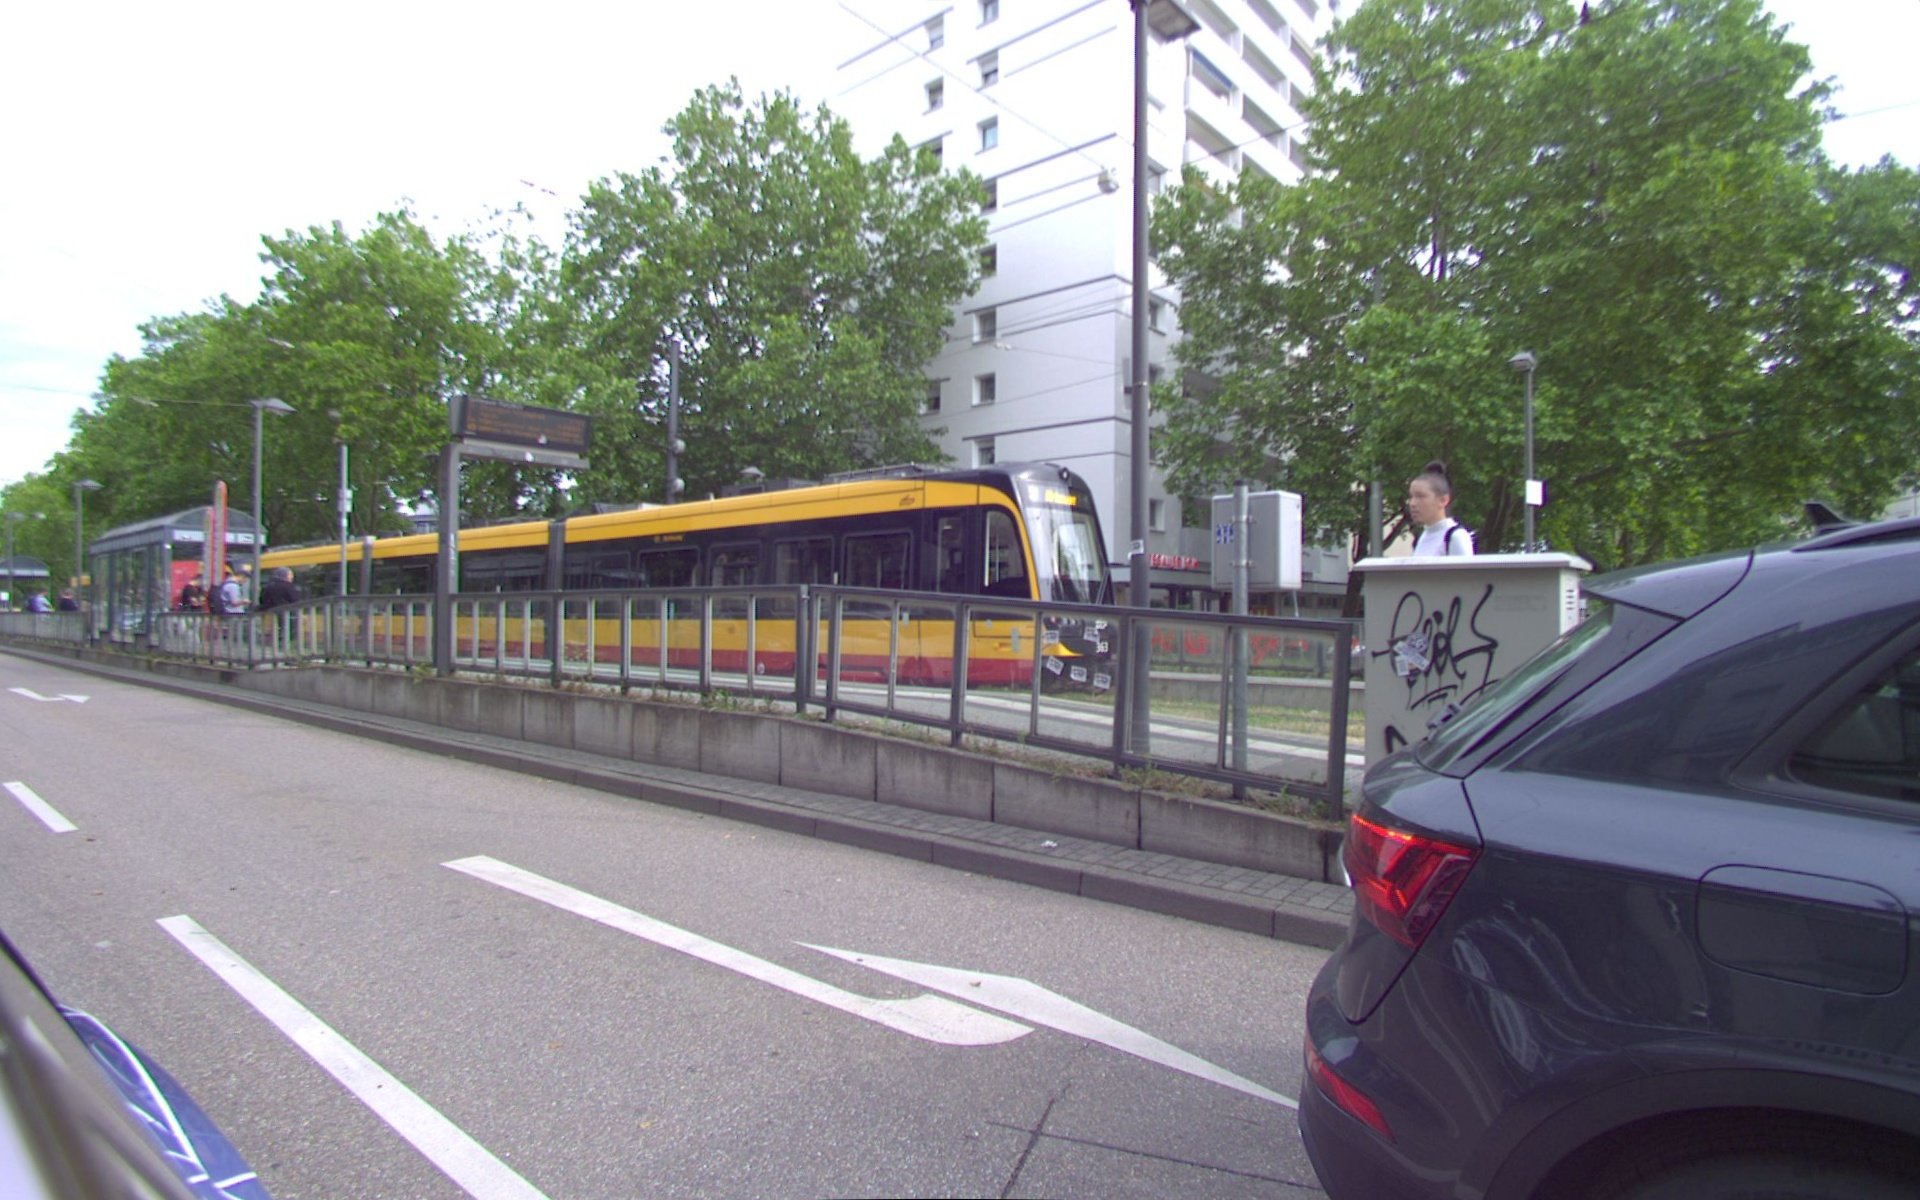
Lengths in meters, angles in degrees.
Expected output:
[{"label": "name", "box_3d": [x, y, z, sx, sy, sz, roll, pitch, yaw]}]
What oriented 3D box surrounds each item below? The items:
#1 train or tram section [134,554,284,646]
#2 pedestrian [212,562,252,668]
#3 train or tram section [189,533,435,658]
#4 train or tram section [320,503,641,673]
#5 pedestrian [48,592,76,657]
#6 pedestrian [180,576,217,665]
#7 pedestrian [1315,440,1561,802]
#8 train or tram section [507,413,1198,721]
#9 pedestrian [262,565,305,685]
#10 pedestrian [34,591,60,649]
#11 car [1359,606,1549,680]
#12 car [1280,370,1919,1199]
[{"label": "train or tram section", "box_3d": [-34.686, 0.056, 46.489, 11.039, 3.781, 3.295, -1, 0, 41]}, {"label": "pedestrian", "box_3d": [-12.745, 0.263, 17.716, 0.605, 1.818, 0.469, -1, 0, 45]}, {"label": "train or tram section", "box_3d": [-24.503, -0.074, 37.468, 16.241, 3.781, 3.295, -1, 0, 41]}, {"label": "train or tram section", "box_3d": [-13.688, -0.213, 27.926, 12.543, 3.781, 3.295, -1, 0, 41]}, {"label": "pedestrian", "box_3d": [-25.563, 0.689, 28.822, 0.523, 1.818, 0.607, -1, 0, -35]}, {"label": "pedestrian", "box_3d": [-15.919, 0.415, 21.161, 0.467, 1.818, 0.607, -1, 0, -24]}, {"label": "pedestrian", "box_3d": [2.387, 0.103, 5.170, 0.969, 1.683, 0.718, -1, 0, 12]}, {"label": "train or tram section", "box_3d": [-3.283, -0.347, 18.715, 15.196, 3.781, 3.295, -1, 0, 41]}, {"label": "pedestrian", "box_3d": [-10.523, 0.385, 15.741, 0.513, 1.818, 0.606, -1, 0, -37]}, {"label": "pedestrian", "box_3d": [-29.032, 0.619, 32.184, 0.523, 1.818, 0.607, -1, 0, -35]}, {"label": "car", "box_3d": [10.025, 0.856, 20.753, 3.187, 1.439, 1.577, 0, -1, 12]}, {"label": "car", "box_3d": [2.696, 0.532, 0.972, 4.225, 1.649, 1.715, -1, 0, 41]}]
